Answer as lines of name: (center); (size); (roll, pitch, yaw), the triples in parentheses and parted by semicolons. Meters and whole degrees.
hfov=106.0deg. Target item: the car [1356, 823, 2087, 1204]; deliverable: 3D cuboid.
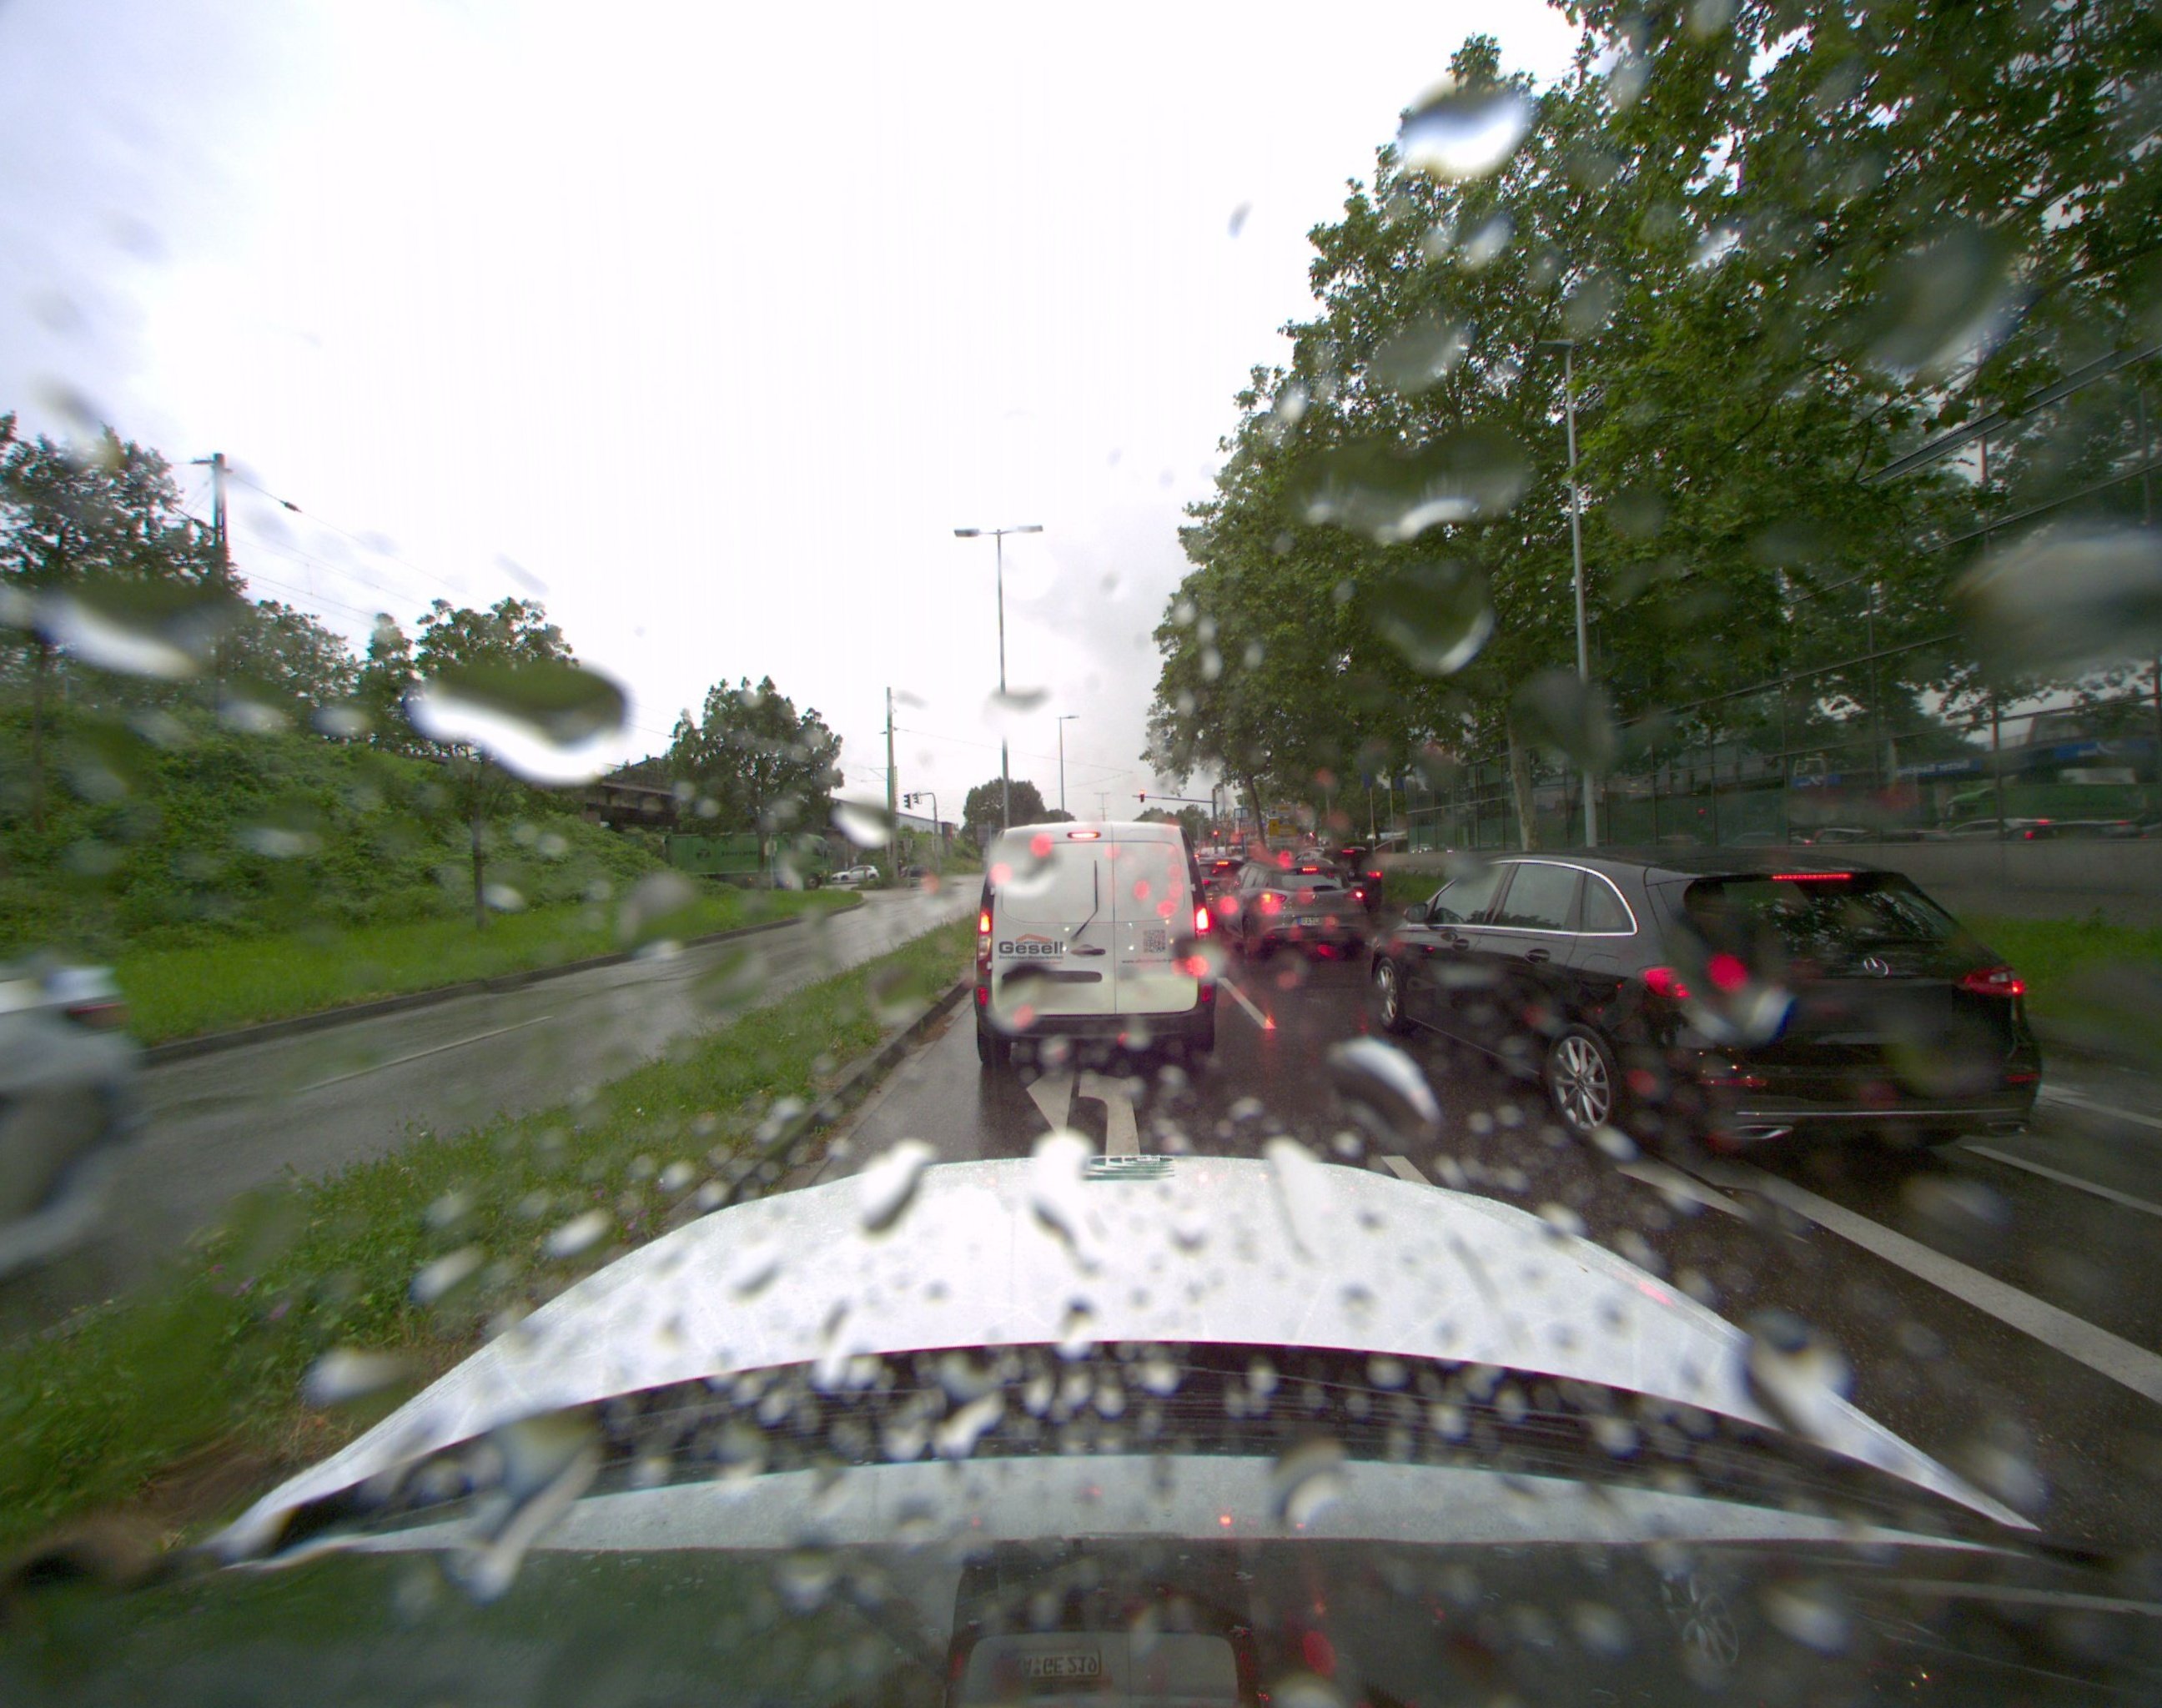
car: (3.364, 0.644, 5.405); (1.703, 1.549, 4.000); (-1, 1, 0)

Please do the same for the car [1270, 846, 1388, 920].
car: (6.386, 0.716, 21.470); (1.850, 1.726, 4.190); (-1, -1, 0)

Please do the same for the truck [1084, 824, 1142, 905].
truck: (1.001, 0.342, 27.151); (1.751, 2.466, 3.999); (-1, -1, 0)

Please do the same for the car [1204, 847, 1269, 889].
car: (6.121, 0.556, 32.531); (1.833, 1.537, 4.111); (-1, -1, 1)

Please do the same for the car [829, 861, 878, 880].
car: (-20.902, 1.489, 74.903); (4.014, 1.585, 1.700); (-2, 0, -32)

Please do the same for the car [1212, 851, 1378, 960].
car: (3.239, 0.702, 13.118); (1.705, 1.445, 4.001); (-1, 0, 2)

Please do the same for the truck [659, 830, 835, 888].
truck: (-21.296, 0.340, 52.460); (10.184, 3.452, 2.629); (0, -2, -36)

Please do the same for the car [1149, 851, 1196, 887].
car: (3.965, 0.633, 35.882); (1.705, 1.445, 4.001); (-1, 0, 2)

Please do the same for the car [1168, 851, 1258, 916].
car: (3.226, 0.677, 20.635); (1.705, 1.445, 4.001); (-1, 0, 2)

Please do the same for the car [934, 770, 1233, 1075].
car: (0.026, 0.476, 7.490); (1.987, 2.014, 3.999); (-1, -1, 0)

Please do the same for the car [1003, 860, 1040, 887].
car: (-3.678, 1.198, 51.119); (1.819, 1.568, 4.002); (-3, 0, 2)

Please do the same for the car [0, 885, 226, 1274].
car: (-5.356, 0.994, 1.942); (1.956, 1.525, 4.334); (-3, 1, 0)

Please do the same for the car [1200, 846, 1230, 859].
car: (19.164, -0.234, 116.432); (3.952, 1.713, 1.782); (-2, -2, 22)
